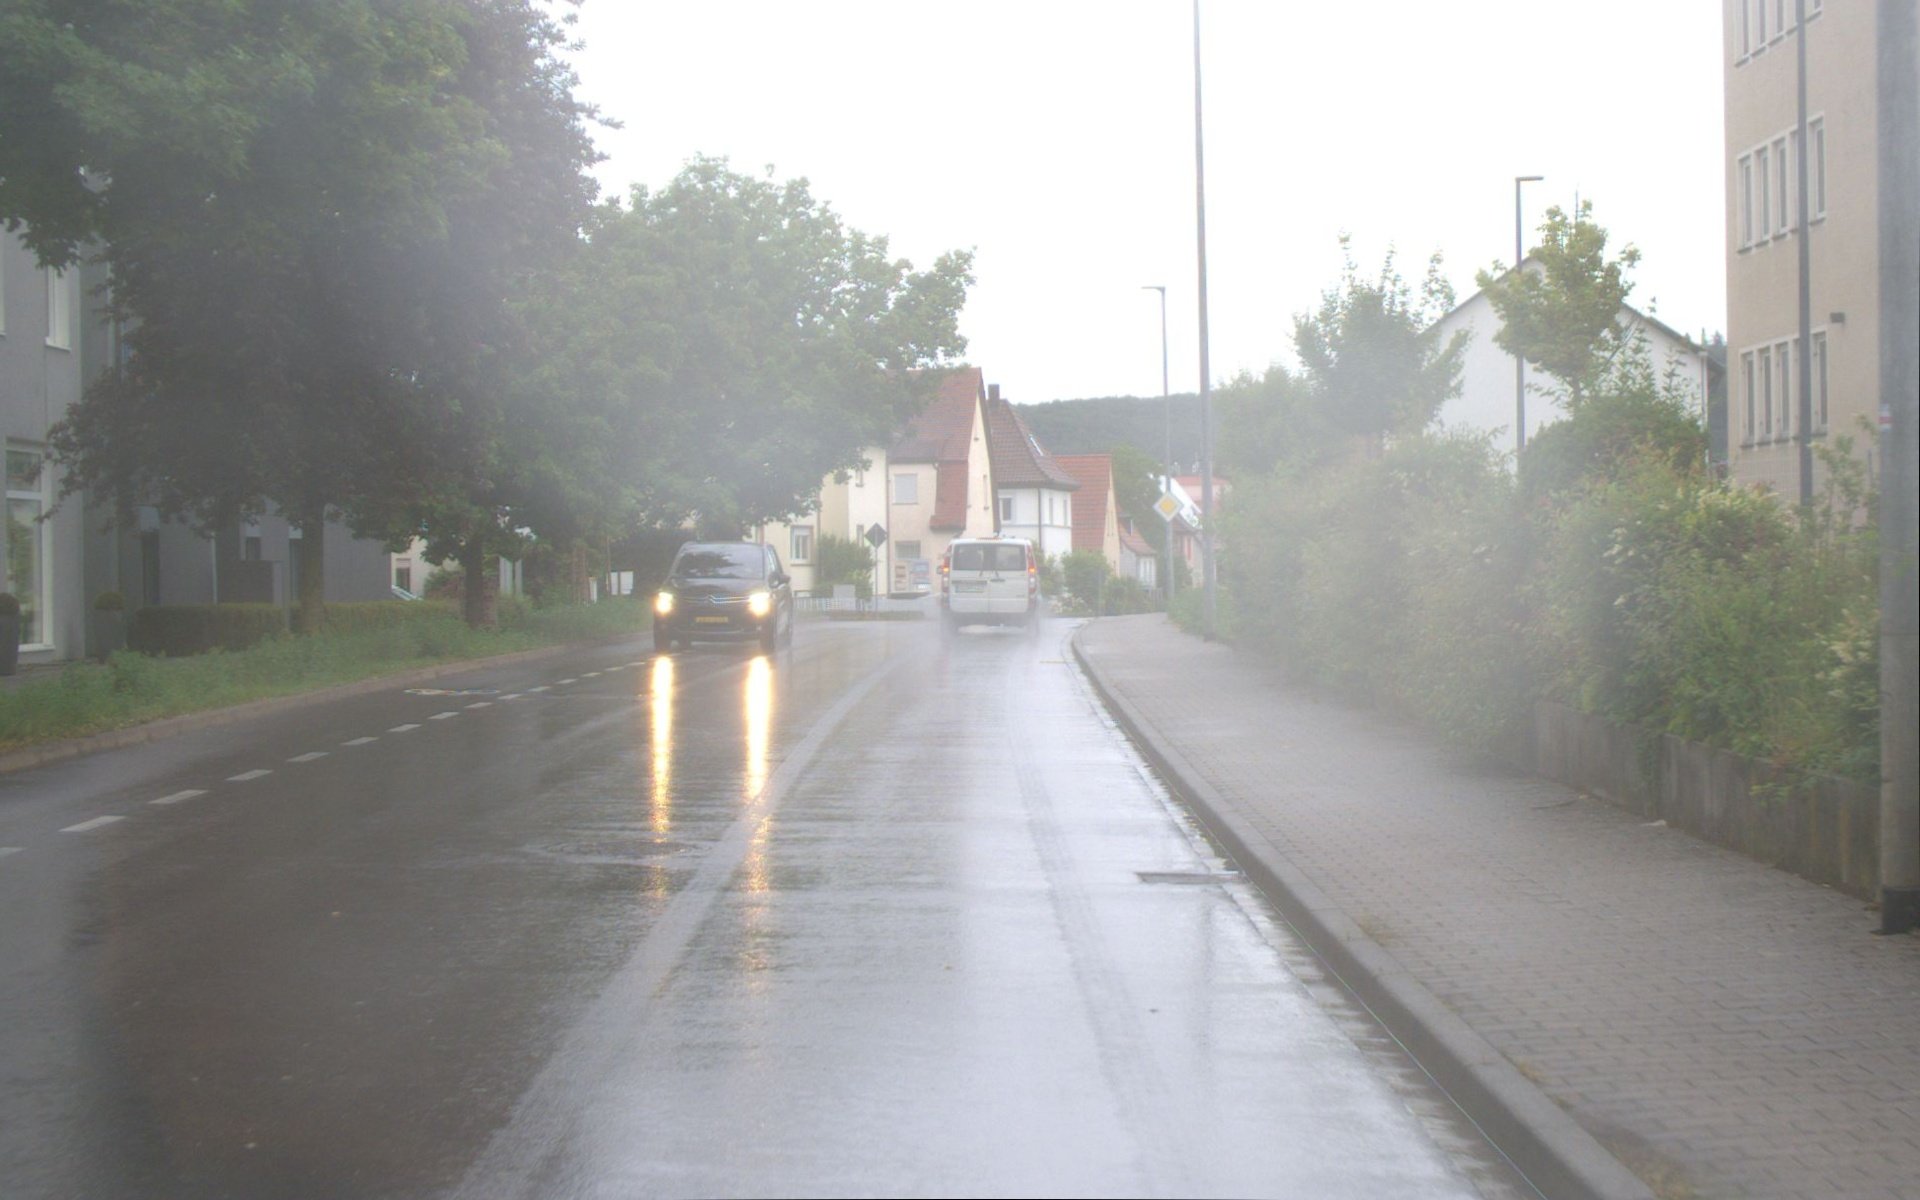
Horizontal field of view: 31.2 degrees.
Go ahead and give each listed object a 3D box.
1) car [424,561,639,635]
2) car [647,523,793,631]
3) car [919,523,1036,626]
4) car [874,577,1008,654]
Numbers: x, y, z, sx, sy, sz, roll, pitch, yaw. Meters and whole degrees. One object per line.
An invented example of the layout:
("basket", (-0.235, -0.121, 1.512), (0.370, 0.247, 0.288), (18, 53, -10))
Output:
("car", (-8.292, -0.032, 66.748), (3.900, 1.280, 1.582), (-2, 0, 2))
("car", (-3.627, -0.388, 52.666), (1.850, 1.549, 4.502), (0, 2, 1))
("car", (0.302, -0.527, 66.173), (2.117, 1.881, 4.502), (0, 2, -1))
("car", (-0.721, 0.590, 133.037), (4.556, 2.006, 2.159), (-13, 0, 9))
